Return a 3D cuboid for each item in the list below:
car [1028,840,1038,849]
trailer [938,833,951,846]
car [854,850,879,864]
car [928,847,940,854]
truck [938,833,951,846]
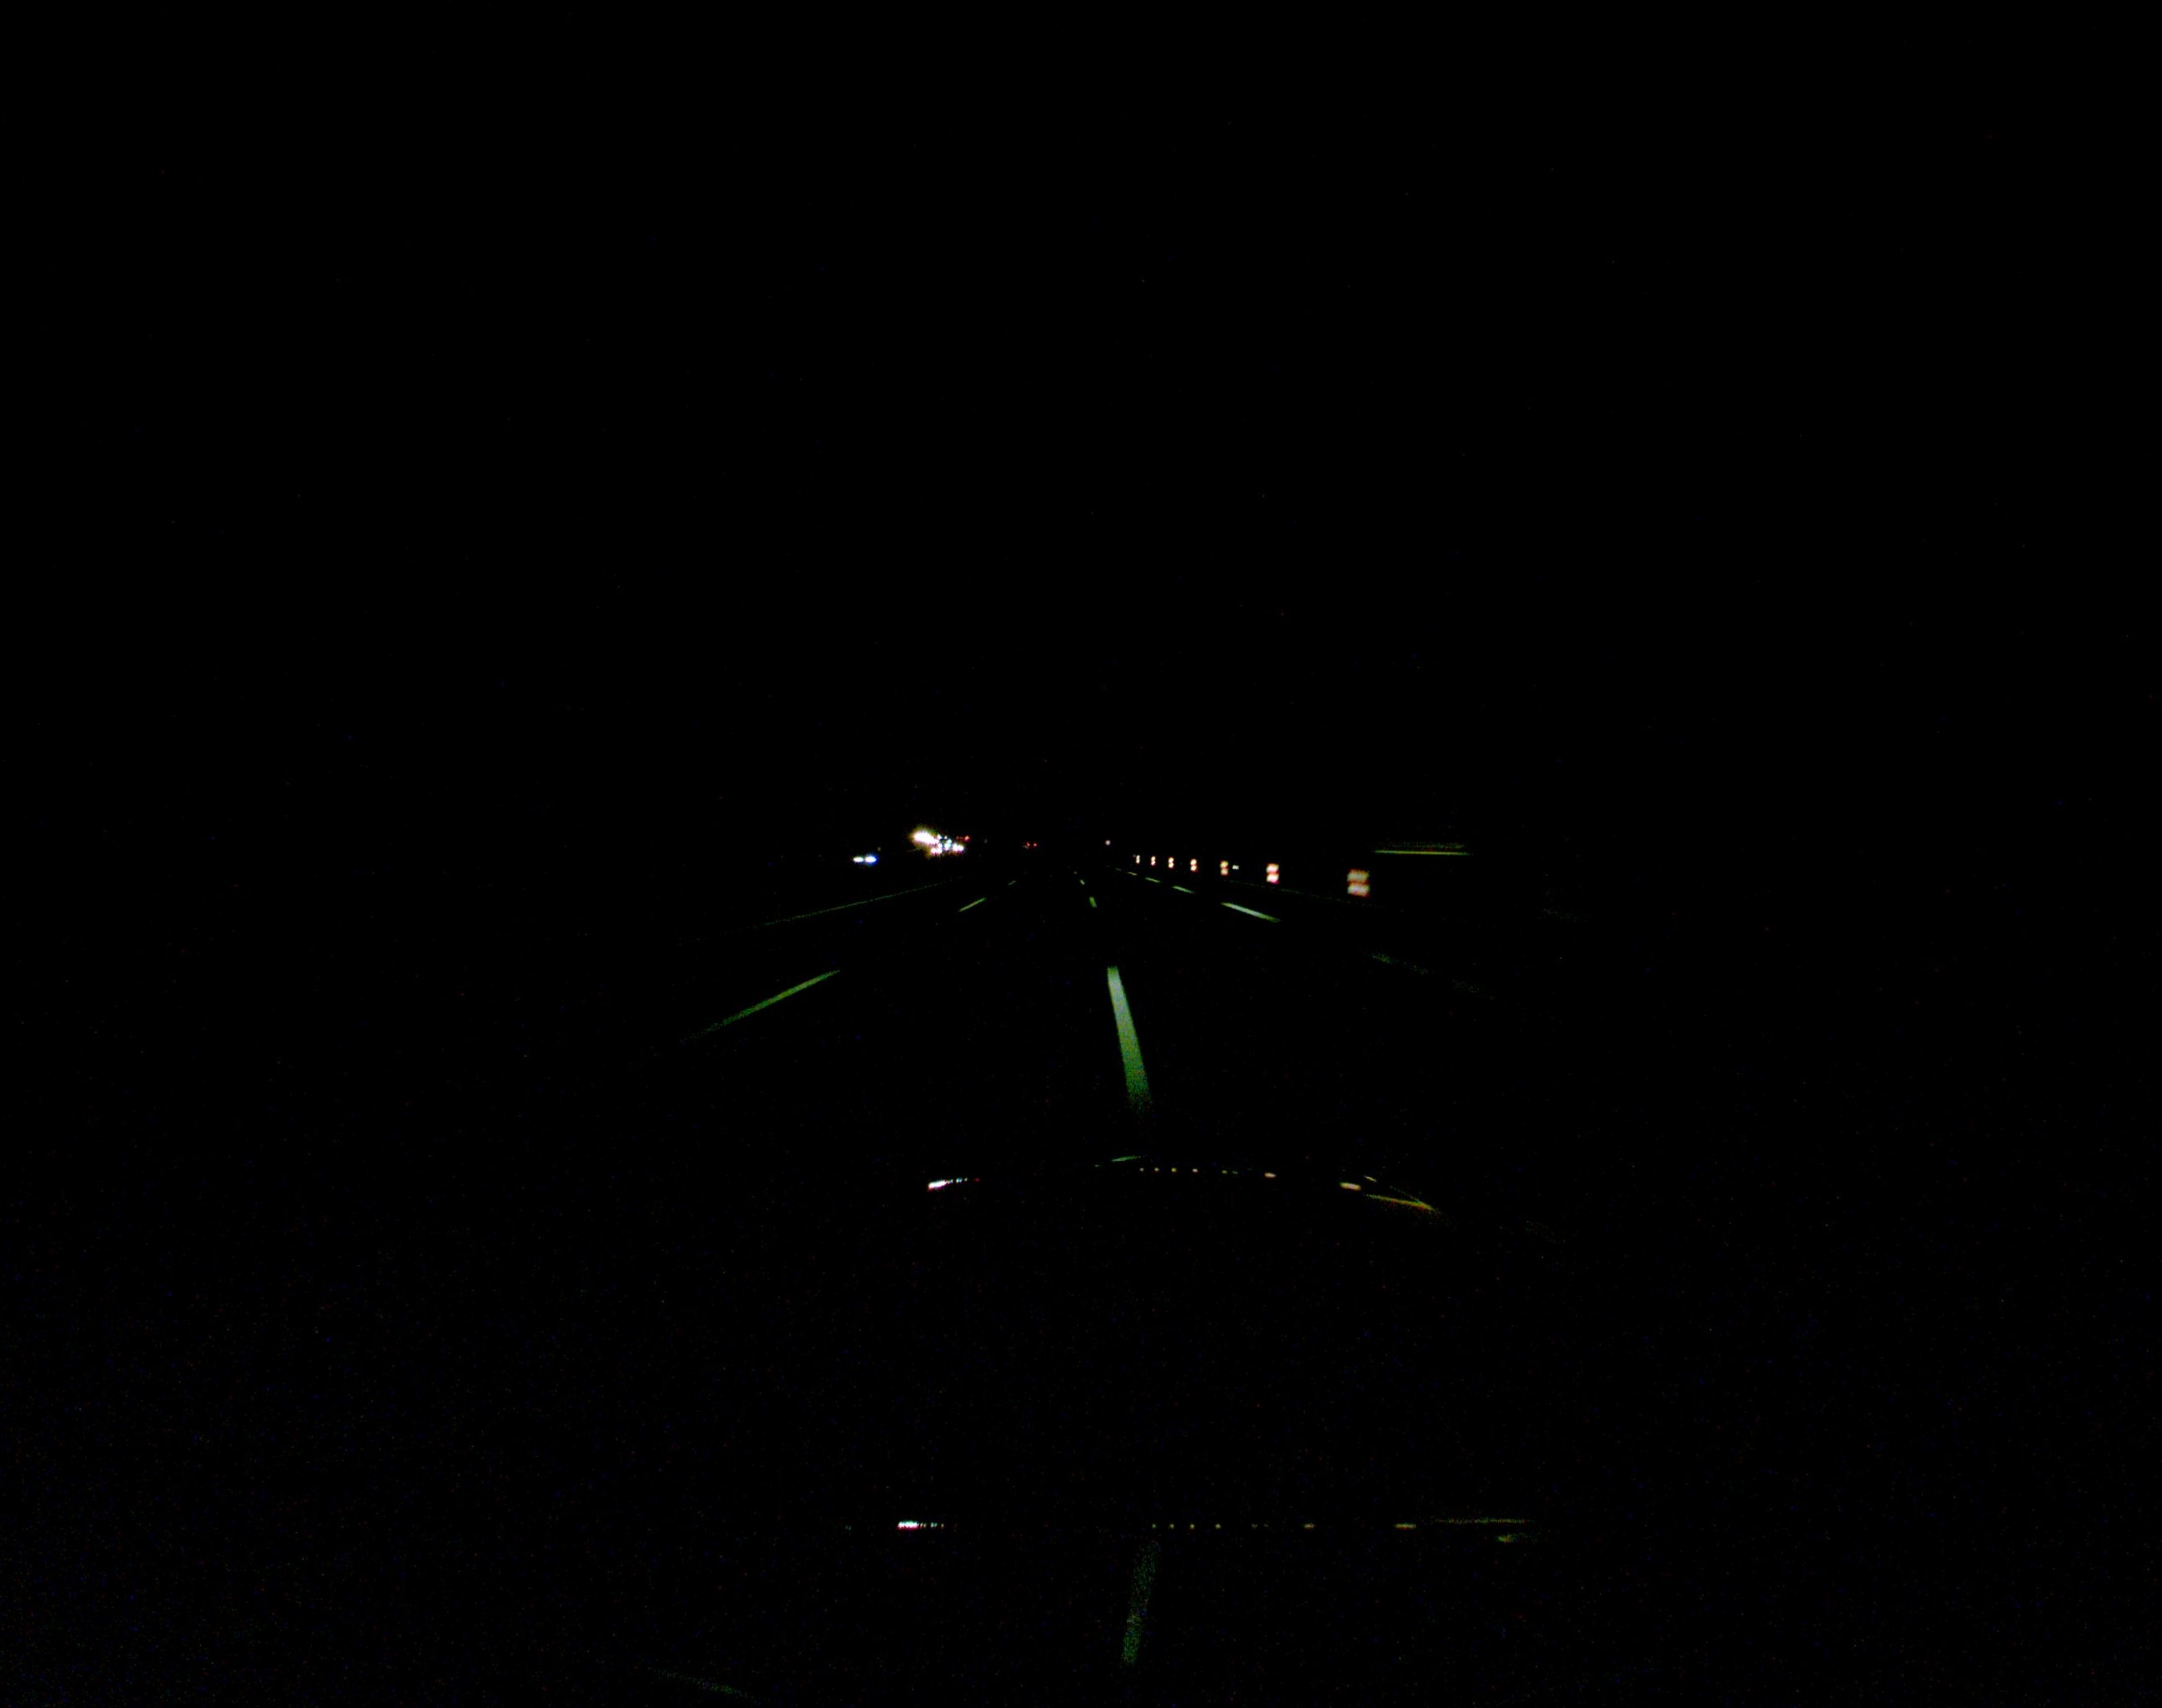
[{"bbox_3d":[-13.326,-2.665,224.320,2.524,2.553,6.041,2,1,-5],"label":"car"},{"bbox_3d":[-43.034,-4.655,257.619,3.597,4.090,14.087,-1,1,-8],"label":"trailer"},{"bbox_3d":[-24.370,0.294,92.709,1.989,1.508,4.310,-1,0,-3],"label":"car"},{"bbox_3d":[-31.356,-0.805,173.822,1.989,1.508,3.995,-1,1,-3],"label":"car"},{"bbox_3d":[-42.219,-4.537,251.404,3.586,4.099,5.981,-1,1,-7],"label":"truck"}]
